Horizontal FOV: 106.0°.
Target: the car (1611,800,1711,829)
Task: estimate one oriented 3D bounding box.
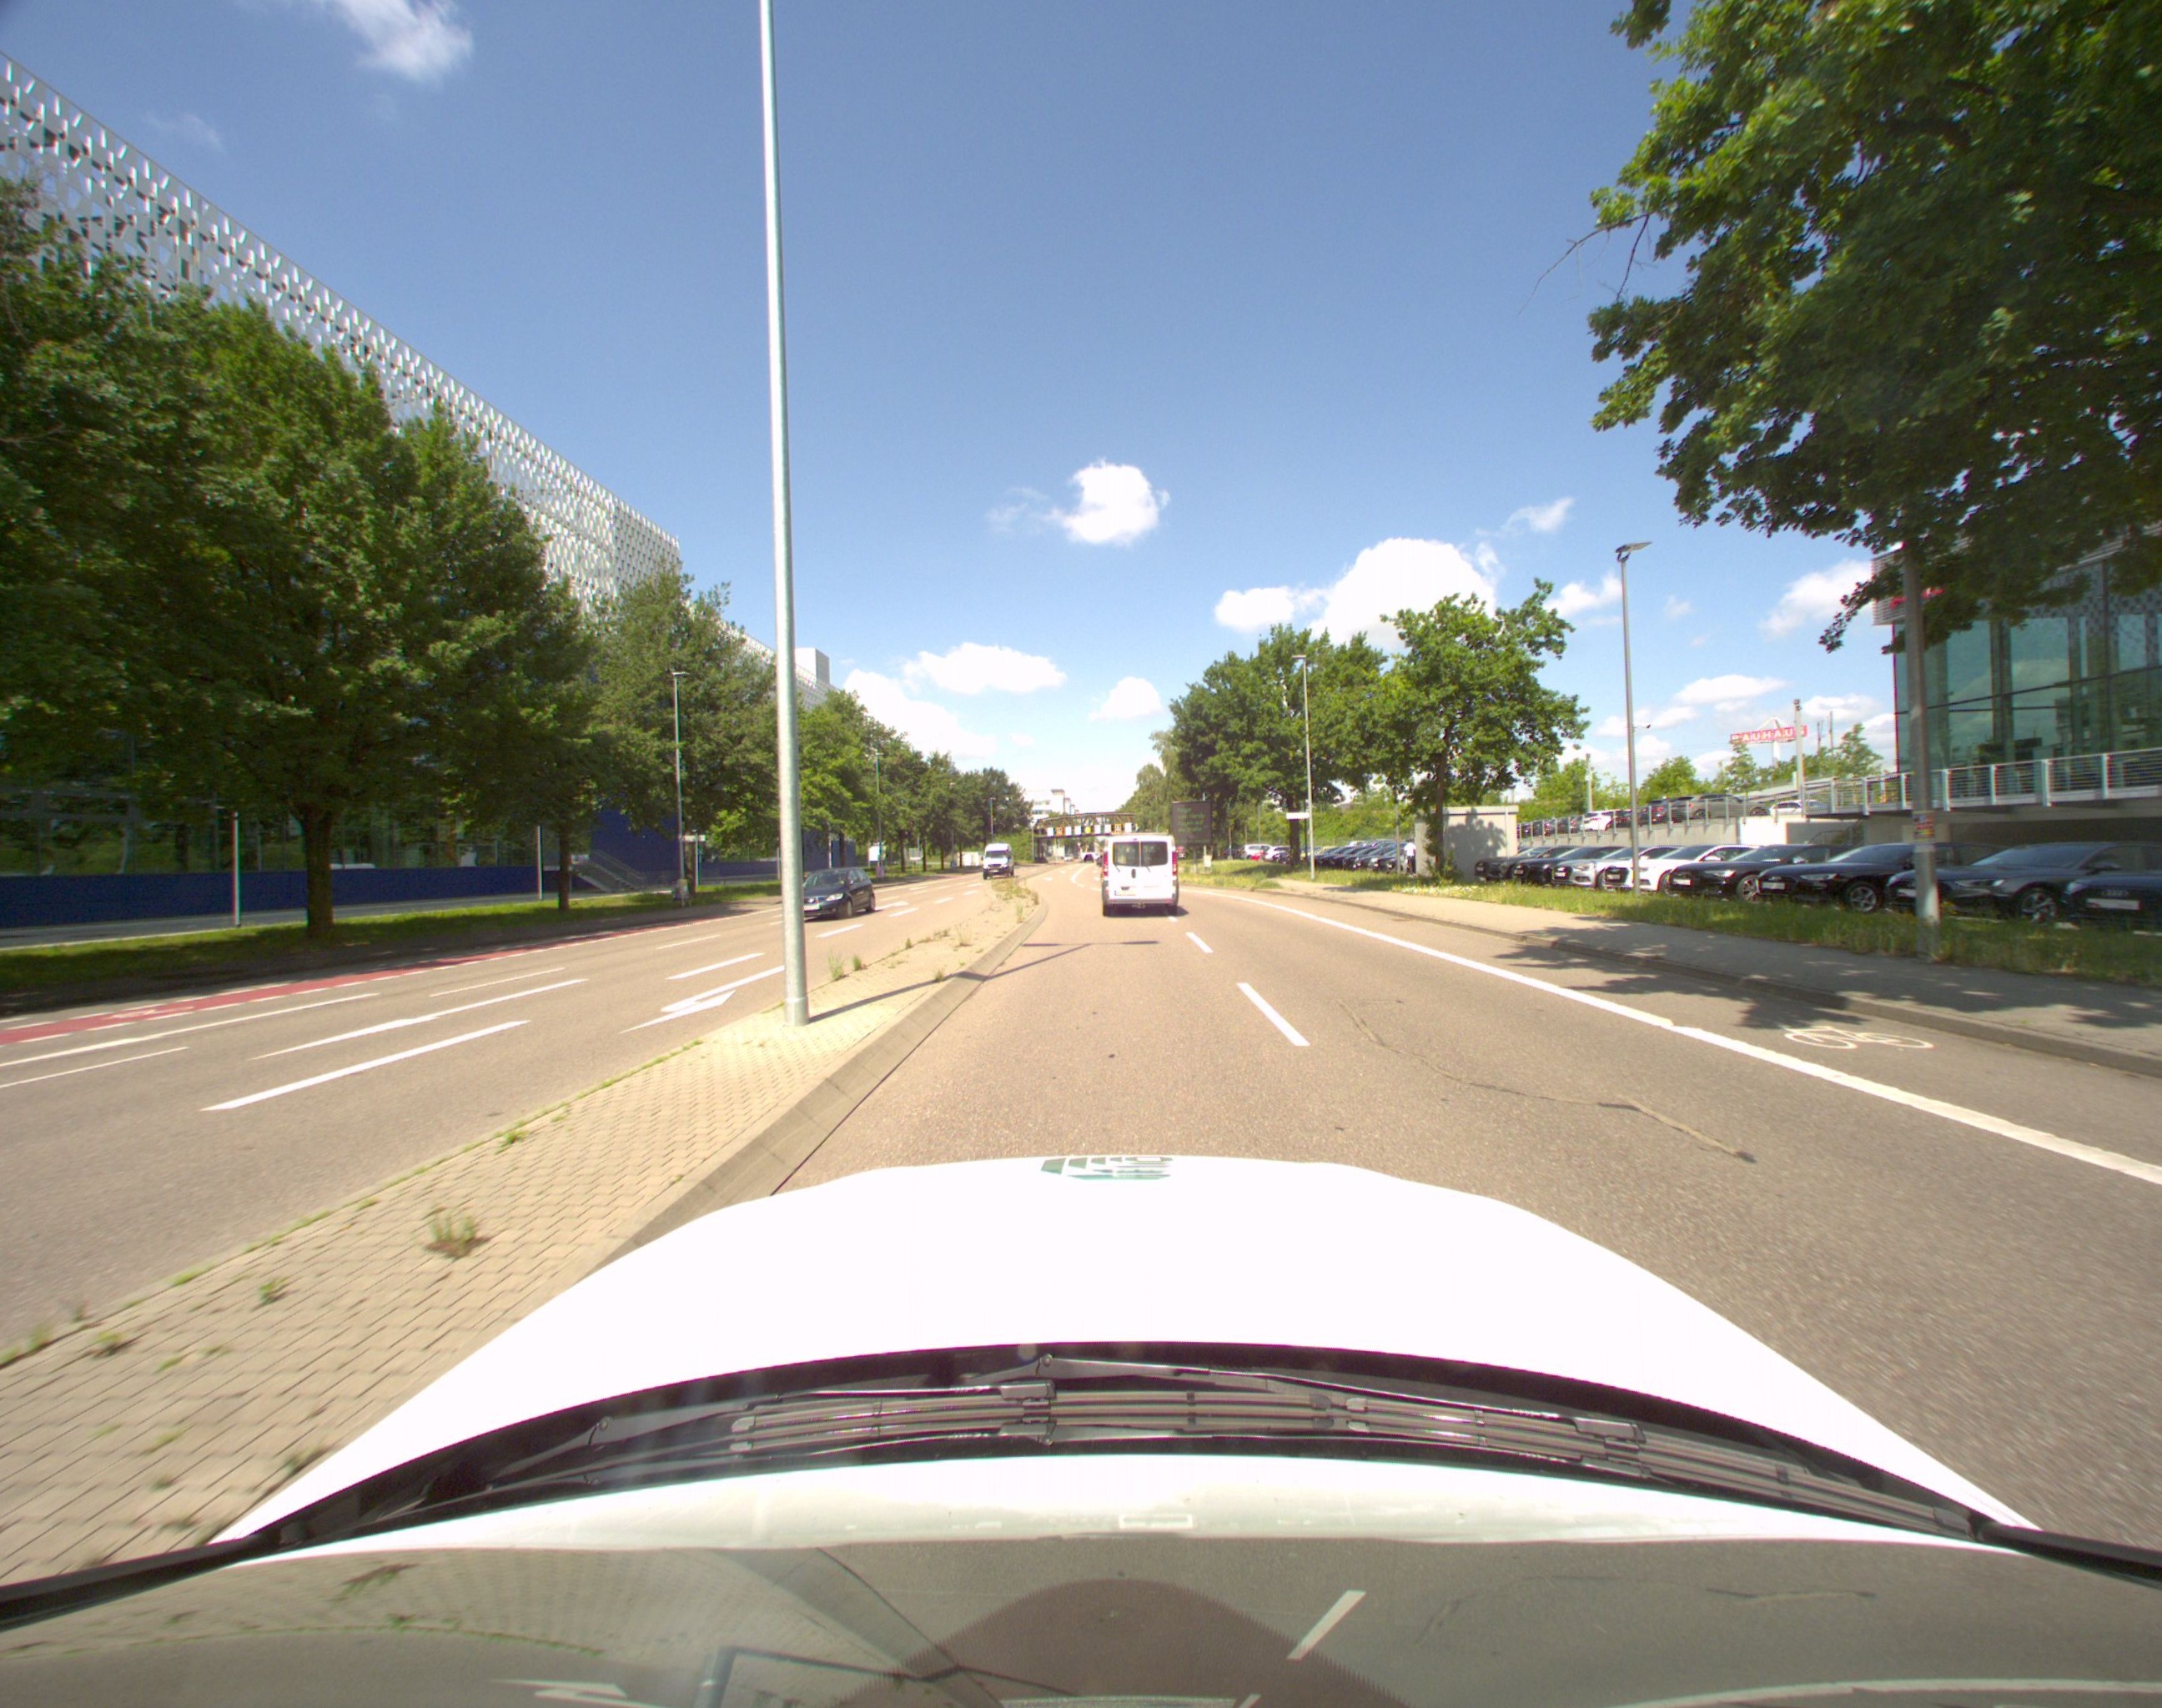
[{"bbox_3d":[33.105,-2.232,46.599,4.334,1.551,1.939,-1,2,4],"label":"car"}]

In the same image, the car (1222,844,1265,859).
[{"bbox_3d":[17.551,-0.267,88.176,4.340,1.512,1.936,-1,2,0],"label":"car"}]

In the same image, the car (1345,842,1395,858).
[{"bbox_3d":[29.141,-0.402,82.214,4.330,1.499,1.908,-2,0,1],"label":"car"}]

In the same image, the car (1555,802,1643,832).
[{"bbox_3d":[32.899,-2.359,51.801,4.334,1.774,1.939,-1,2,4],"label":"car"}]

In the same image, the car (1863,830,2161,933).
[{"bbox_3d":[15.409,0.374,12.702,4.558,1.404,1.908,-1,2,1],"label":"car"}]

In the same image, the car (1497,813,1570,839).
[{"bbox_3d":[33.234,-2.047,59.888,4.334,1.774,1.939,-1,2,4],"label":"car"}]

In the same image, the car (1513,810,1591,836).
[{"bbox_3d":[32.911,-2.162,56.973,4.334,1.774,1.939,-1,2,4],"label":"car"}]

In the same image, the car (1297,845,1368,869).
[{"bbox_3d":[17.229,0.204,55.902,4.340,1.512,1.936,-1,2,0],"label":"car"}]

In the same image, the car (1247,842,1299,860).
[{"bbox_3d":[17.664,-0.284,74.940,4.340,1.512,1.936,-1,2,0],"label":"car"}]

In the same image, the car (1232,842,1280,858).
[{"bbox_3d":[17.199,-0.416,80.101,4.340,1.512,1.936,-1,2,0],"label":"car"}]

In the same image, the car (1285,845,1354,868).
[{"bbox_3d":[17.067,0.142,58.418,4.340,1.512,1.936,-1,2,0],"label":"car"}]

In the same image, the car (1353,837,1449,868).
[{"bbox_3d":[16.810,-0.089,42.922,4.340,1.512,1.936,-1,2,0],"label":"car"}]

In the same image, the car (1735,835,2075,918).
[{"bbox_3d":[15.576,0.388,15.606,4.558,1.404,1.908,-1,2,1],"label":"car"}]

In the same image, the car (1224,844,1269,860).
[{"bbox_3d":[17.127,-0.248,84.356,4.340,1.512,1.936,-1,2,0],"label":"car"}]

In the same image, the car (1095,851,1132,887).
[{"bbox_3d":[1.612,0.731,41.498,1.767,1.629,4.001,-1,1,1],"label":"car"}]

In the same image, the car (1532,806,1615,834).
[{"bbox_3d":[32.888,-2.250,54.483,4.334,1.774,1.939,-1,2,4],"label":"car"}]

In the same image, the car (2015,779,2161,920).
[{"bbox_3d":[15.167,-0.115,10.259,4.558,1.678,1.908,-1,2,1],"label":"car"}]

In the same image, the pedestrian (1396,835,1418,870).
[{"bbox_3d":[13.981,-0.083,34.958,0.631,1.459,0.772,-1,2,0],"label":"pedestrian"}]

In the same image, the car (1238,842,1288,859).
[{"bbox_3d":[17.291,-0.323,77.485,4.340,1.512,1.936,-1,2,0],"label":"car"}]

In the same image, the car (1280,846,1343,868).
[{"bbox_3d":[17.942,0.212,63.455,4.340,1.512,1.936,-1,2,0],"label":"car"}]

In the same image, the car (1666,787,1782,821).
[{"bbox_3d":[32.549,-2.509,41.324,4.334,1.551,1.939,-1,2,4],"label":"car"}]

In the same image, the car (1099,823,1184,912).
[{"bbox_3d":[1.511,0.264,21.562,1.965,2.059,4.567,-1,1,2],"label":"car"}]

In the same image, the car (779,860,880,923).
[{"bbox_3d":[-7.790,1.095,25.647,1.733,1.610,4.240,-5,0,0],"label":"car"}]

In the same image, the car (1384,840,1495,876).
[{"bbox_3d":[16.637,0.159,37.955,4.340,1.512,1.936,-1,2,0],"label":"car"}]

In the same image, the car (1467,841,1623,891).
[{"bbox_3d":[16.062,0.406,28.333,4.338,1.513,1.856,-2,0,2],"label":"car"}]

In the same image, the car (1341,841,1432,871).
[{"bbox_3d":[16.972,0.115,45.357,4.340,1.512,1.936,-1,2,0],"label":"car"}]

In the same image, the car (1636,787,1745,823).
[{"bbox_3d":[32.685,-2.604,43.778,4.334,1.774,1.939,-1,2,4],"label":"car"}]

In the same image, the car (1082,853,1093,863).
[{"bbox_3d":[1.313,0.710,160.993,1.985,1.771,4.004,-1,2,3],"label":"car"}]

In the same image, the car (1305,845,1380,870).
[{"bbox_3d":[17.107,0.224,53.449,4.340,1.512,1.936,-1,2,0],"label":"car"}]

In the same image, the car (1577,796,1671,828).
[{"bbox_3d":[32.751,-2.527,49.230,4.334,1.774,1.939,-1,2,4],"label":"car"}]

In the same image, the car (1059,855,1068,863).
[{"bbox_3d":[-4.668,1.348,222.931,1.985,2.013,4.004,-2,0,4],"label":"car"}]

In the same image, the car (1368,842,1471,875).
[{"bbox_3d":[16.761,0.198,40.435,4.340,1.512,1.936,-1,2,0],"label":"car"}]

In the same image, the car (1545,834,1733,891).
[{"bbox_3d":[15.804,0.231,23.221,4.092,1.404,1.818,-2,0,1],"label":"car"}]

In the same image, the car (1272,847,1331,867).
[{"bbox_3d":[17.964,0.210,66.482,4.340,1.512,1.936,-1,2,0],"label":"car"}]

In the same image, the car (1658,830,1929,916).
[{"bbox_3d":[15.636,0.381,18.054,4.331,1.512,1.787,4,2,1],"label":"car"}]

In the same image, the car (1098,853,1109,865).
[{"bbox_3d":[4.115,0.899,150.032,1.986,2.013,4.002,-2,0,2],"label":"car"}]

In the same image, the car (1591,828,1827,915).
[{"bbox_3d":[15.878,0.407,20.786,4.558,2.049,1.908,-1,2,1],"label":"car"}]

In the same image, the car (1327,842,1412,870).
[{"bbox_3d":[17.032,0.115,48.213,4.340,1.512,1.936,-1,2,0],"label":"car"}]

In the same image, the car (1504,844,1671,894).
[{"bbox_3d":[15.828,0.445,25.619,4.091,1.445,1.857,-1,0,2],"label":"car"}]

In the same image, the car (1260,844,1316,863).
[{"bbox_3d":[17.539,-0.060,69.111,4.340,1.512,1.936,-1,2,0],"label":"car"}]

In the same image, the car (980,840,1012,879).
[{"bbox_3d":[-6.670,0.393,64.841,2.018,2.893,6.377,-2,0,-2],"label":"car"}]

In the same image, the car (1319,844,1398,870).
[{"bbox_3d":[17.242,0.170,50.730,4.340,1.512,1.936,-1,2,0],"label":"car"}]
